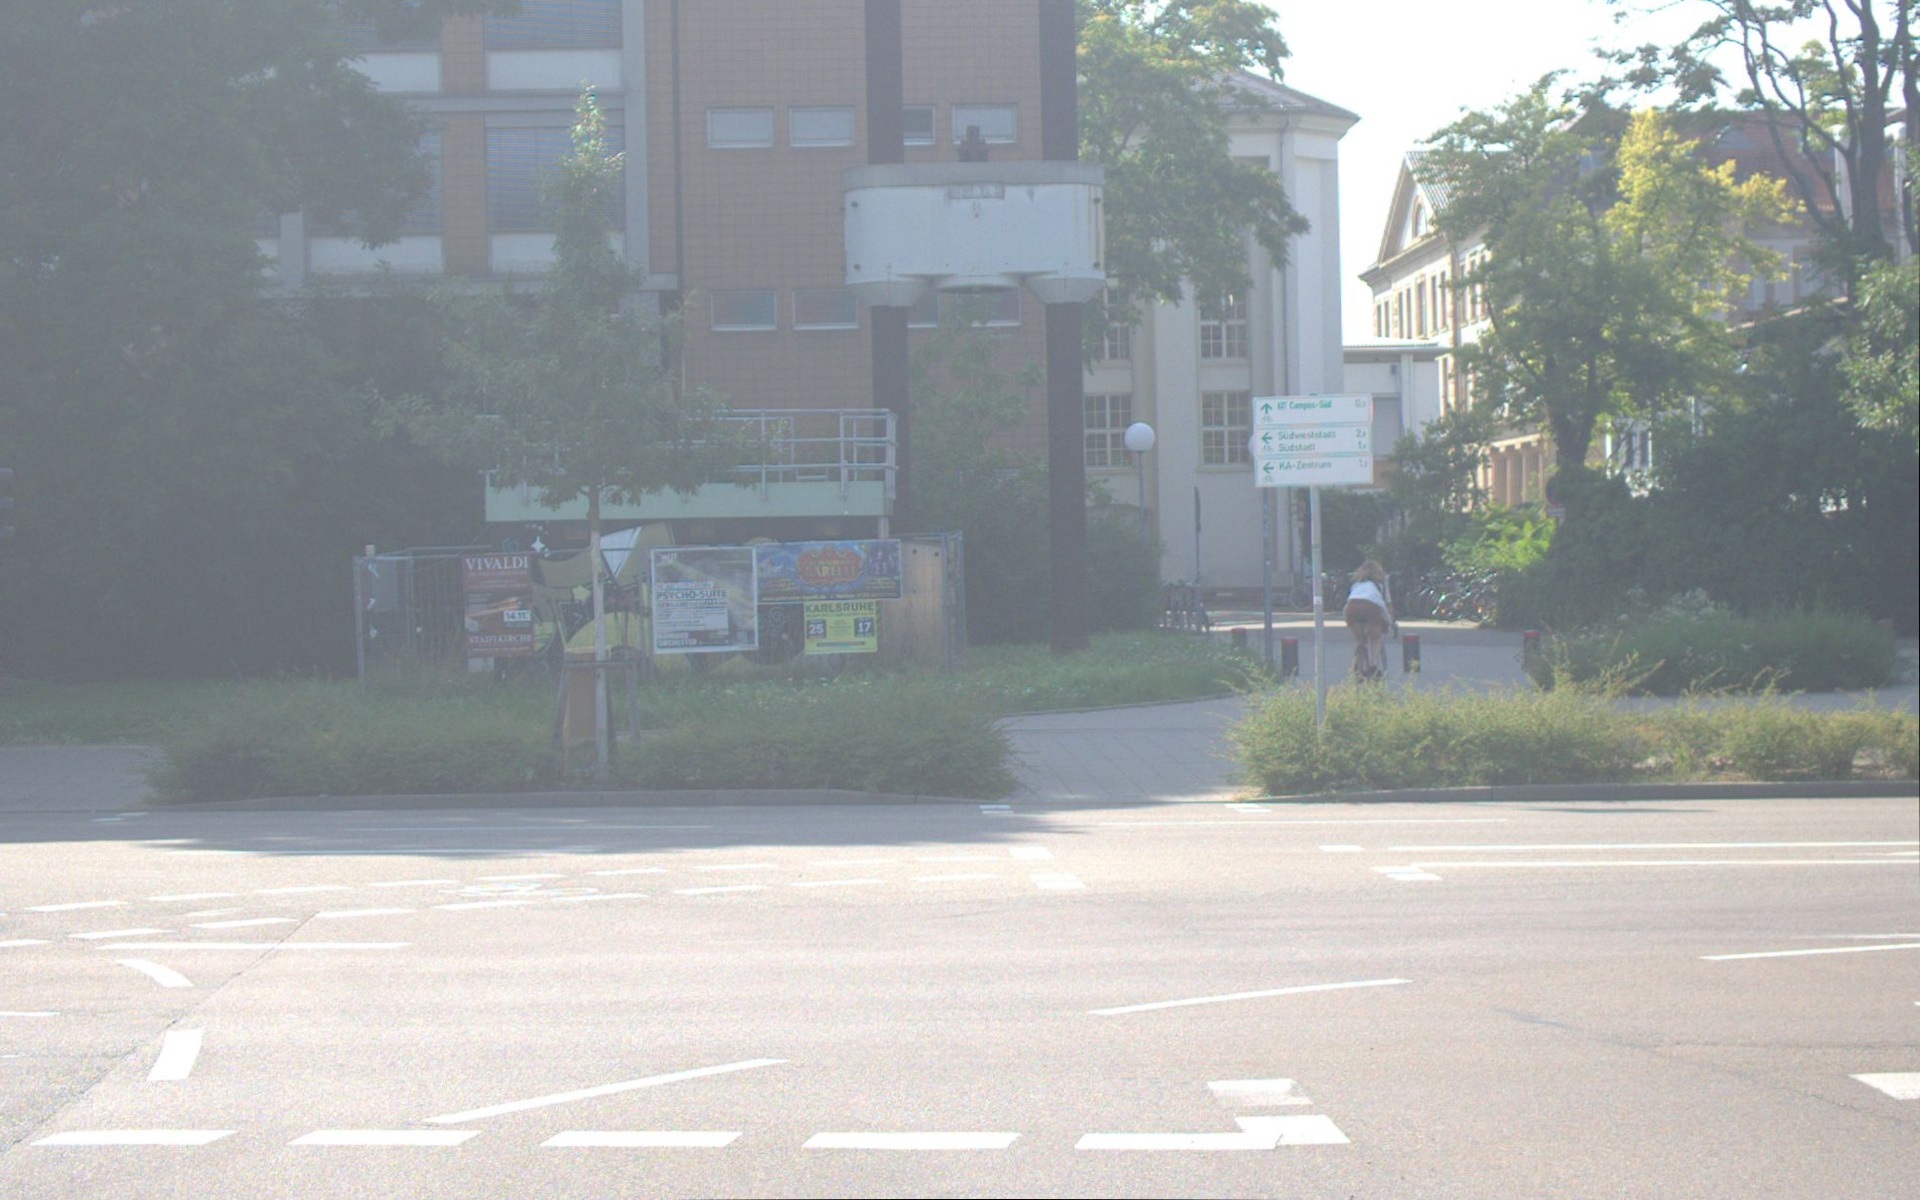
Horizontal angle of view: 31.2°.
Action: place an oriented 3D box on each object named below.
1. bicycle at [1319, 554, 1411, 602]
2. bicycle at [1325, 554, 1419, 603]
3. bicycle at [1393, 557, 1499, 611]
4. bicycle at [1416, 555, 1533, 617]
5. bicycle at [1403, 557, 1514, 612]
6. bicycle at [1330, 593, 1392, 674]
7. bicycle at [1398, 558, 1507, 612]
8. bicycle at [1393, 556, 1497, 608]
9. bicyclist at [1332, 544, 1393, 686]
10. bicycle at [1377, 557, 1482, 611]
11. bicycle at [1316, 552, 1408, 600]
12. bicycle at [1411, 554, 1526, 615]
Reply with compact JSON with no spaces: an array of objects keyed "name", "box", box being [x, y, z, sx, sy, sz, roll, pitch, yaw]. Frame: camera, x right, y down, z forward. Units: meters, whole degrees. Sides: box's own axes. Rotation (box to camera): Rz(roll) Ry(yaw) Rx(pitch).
[{"name":"bicycle","box":[10.955,-0.599,93.111,2.427,1.258,0.720,1,1,3]},{"name":"bicycle","box":[10.949,-0.578,91.452,2.427,1.277,0.720,1,1,3]},{"name":"bicycle","box":[11.504,-0.382,81.465,2.427,1.230,0.720,1,1,3]},{"name":"bicycle","box":[11.155,-0.310,74.548,2.427,1.314,0.720,1,1,3]},{"name":"bicycle","box":[11.339,-0.350,78.222,2.427,1.219,0.720,1,1,3]},{"name":"bicycle","box":[4.577,0.371,39.231,0.673,0.876,1.401,-1,1,6]},{"name":"bicycle","box":[11.379,-0.342,79.497,2.427,1.219,0.720,1,1,3]},{"name":"bicycle","box":[11.744,-0.434,83.325,2.427,1.224,0.720,1,1,3]},{"name":"bicyclist","box":[4.587,0.164,39.216,0.650,1.596,0.919,-1,1,6]},{"name":"bicycle","box":[11.238,-0.386,82.300,2.427,1.235,0.720,1,1,3]},{"name":"bicycle","box":[10.979,-0.646,93.940,2.427,1.276,0.720,1,1,3]},{"name":"bicycle","box":[11.194,-0.346,75.683,2.427,1.314,0.720,1,1,3]}]
